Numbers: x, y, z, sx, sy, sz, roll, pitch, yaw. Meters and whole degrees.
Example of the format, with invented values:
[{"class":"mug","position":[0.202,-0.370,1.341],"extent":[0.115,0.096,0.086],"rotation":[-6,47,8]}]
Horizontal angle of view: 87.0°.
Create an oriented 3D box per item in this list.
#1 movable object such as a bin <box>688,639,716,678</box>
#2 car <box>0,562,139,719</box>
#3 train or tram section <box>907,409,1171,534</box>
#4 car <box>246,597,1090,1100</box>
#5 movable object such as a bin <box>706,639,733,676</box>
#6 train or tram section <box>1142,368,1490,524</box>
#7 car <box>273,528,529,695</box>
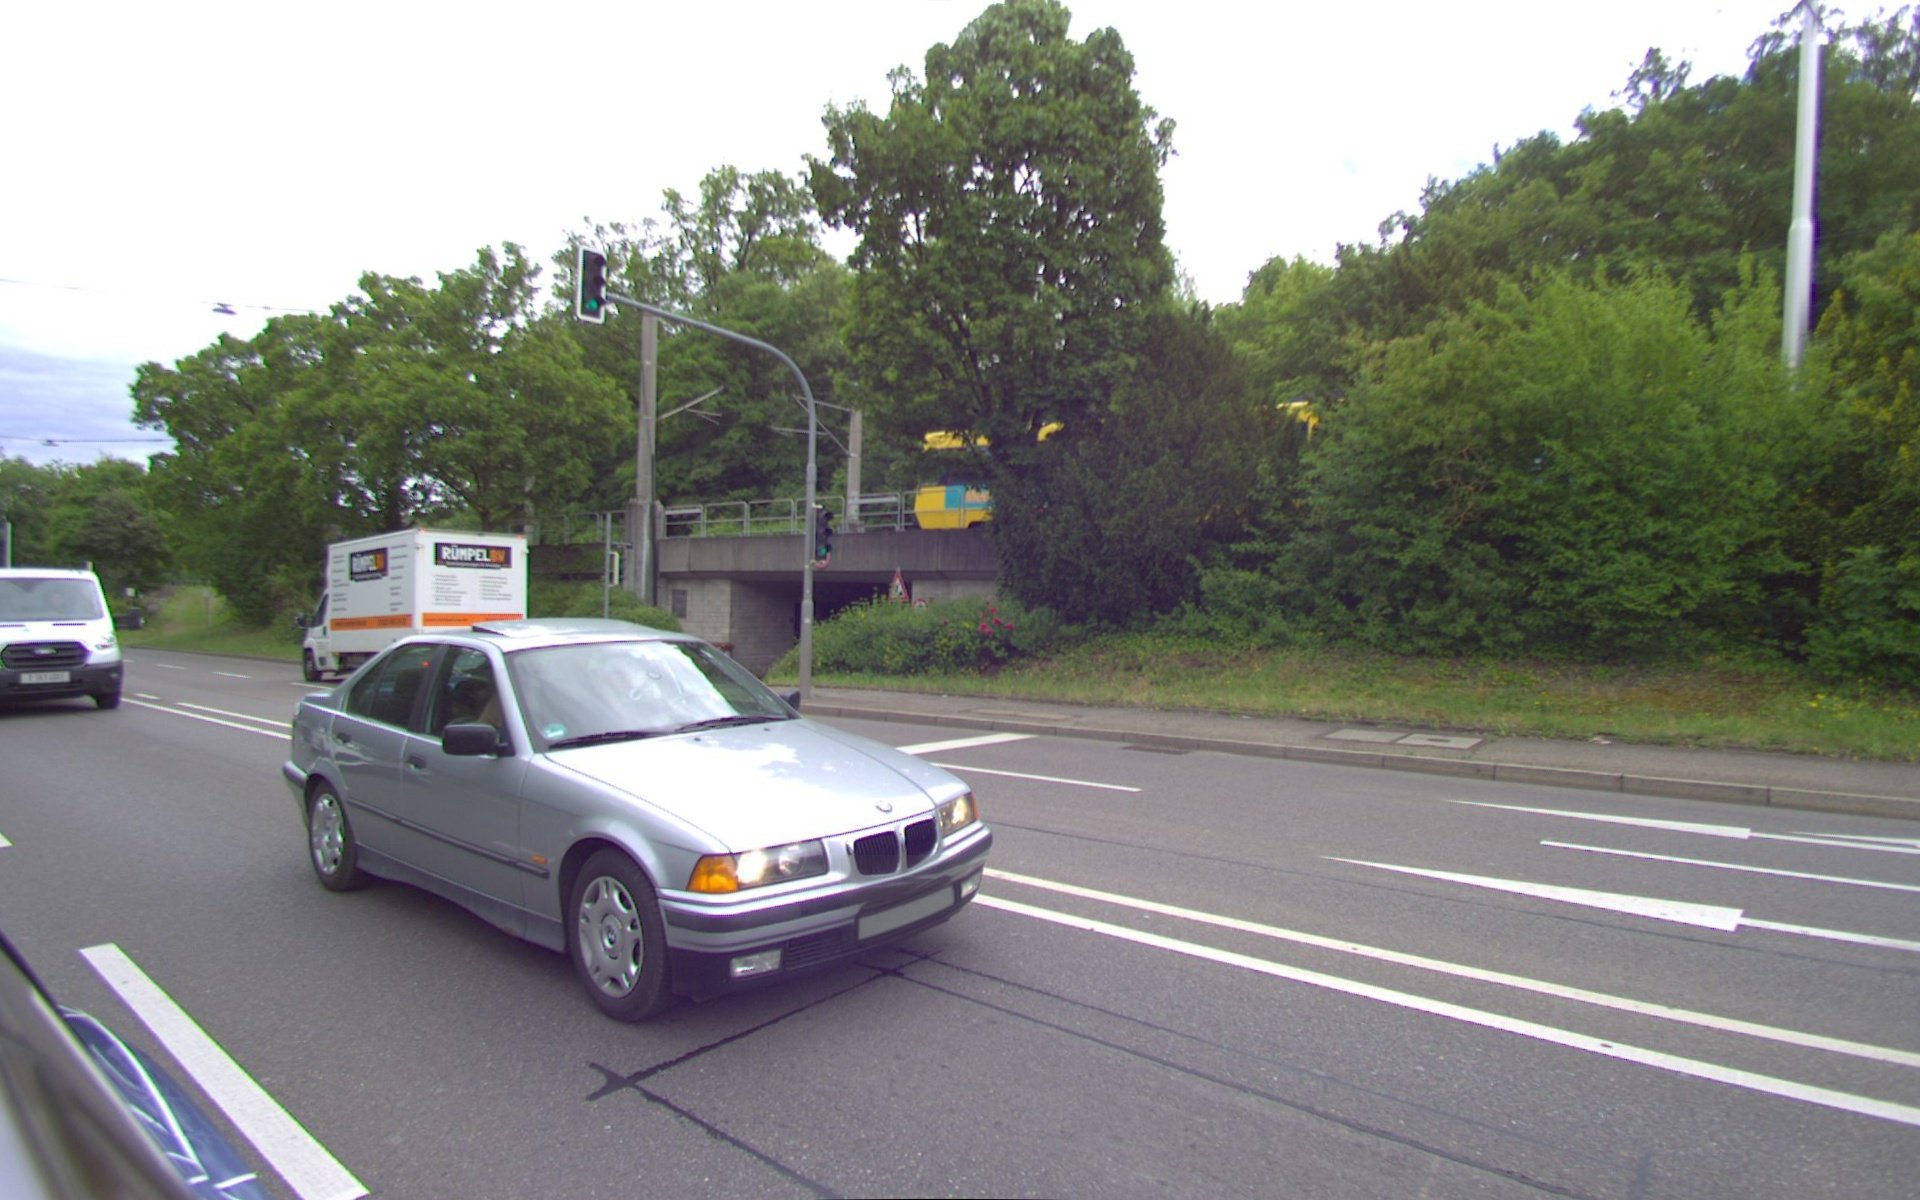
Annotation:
[{"class":"movable object such as a bin","position":[-7.532,1.690,29.502],"extent":[0.563,1.107,0.537],"rotation":[-1,-3,39]},{"class":"car","position":[-15.428,0.586,16.186],"extent":[6.661,2.142,2.225],"rotation":[-1,0,39]},{"class":"train or tram section","position":[2.186,-3.673,30.570],"extent":[8.137,3.066,2.039],"rotation":[1,1,36]},{"class":"car","position":[-1.775,0.727,4.996],"extent":[4.611,1.404,1.735],"rotation":[-1,-1,40]},{"class":"movable object such as a bin","position":[-7.092,1.688,29.869],"extent":[0.563,1.085,0.537],"rotation":[-1,-3,39]},{"class":"train or tram section","position":[8.770,-3.662,25.735],"extent":[8.137,3.066,2.039],"rotation":[1,1,36]},{"class":"car","position":[-12.193,0.240,21.763],"extent":[7.227,3.079,2.248],"rotation":[-1,0,39]}]
